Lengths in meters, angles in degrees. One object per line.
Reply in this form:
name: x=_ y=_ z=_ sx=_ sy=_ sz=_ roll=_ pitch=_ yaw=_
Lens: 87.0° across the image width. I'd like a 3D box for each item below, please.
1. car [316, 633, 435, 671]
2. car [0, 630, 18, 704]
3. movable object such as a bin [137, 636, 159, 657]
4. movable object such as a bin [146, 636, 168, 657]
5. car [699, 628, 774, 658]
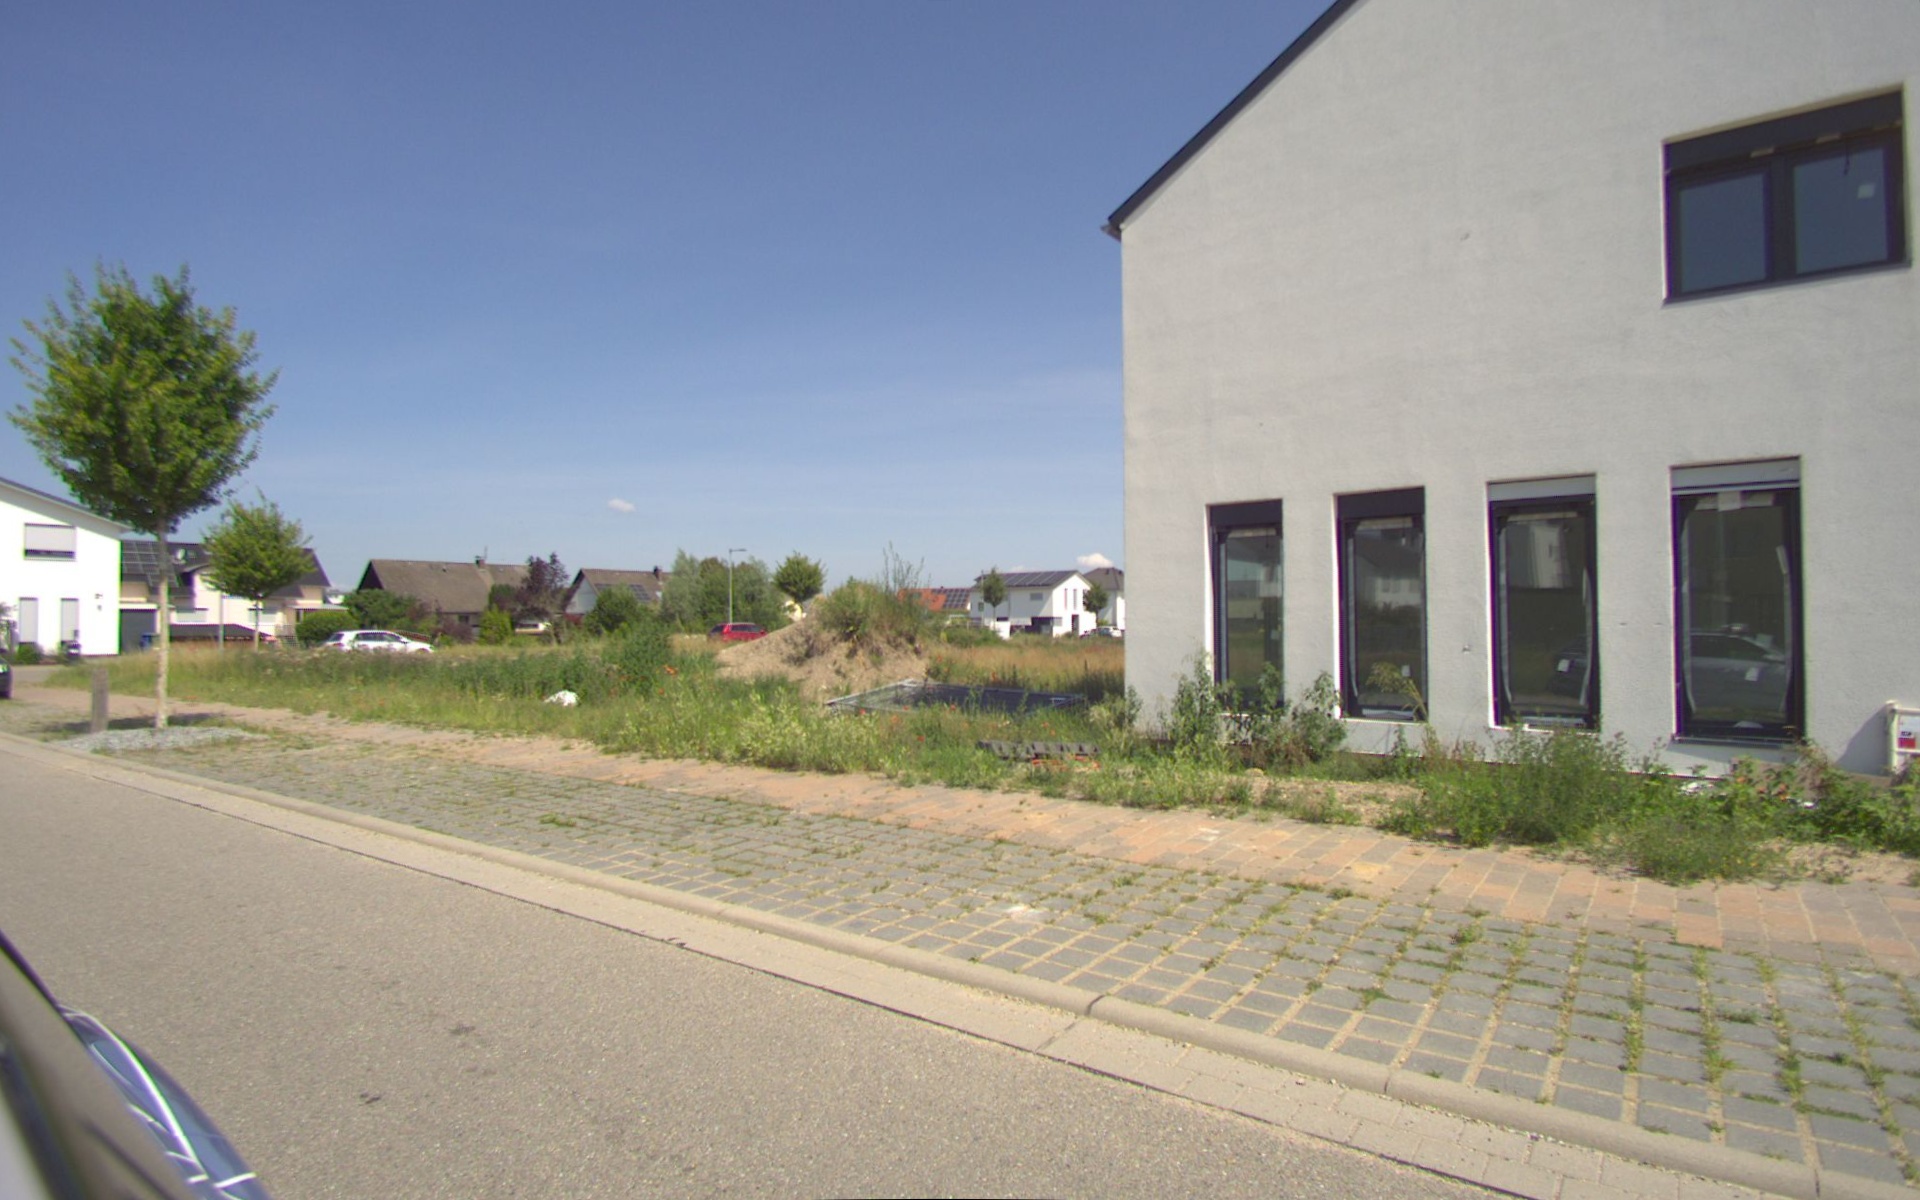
car: x=-24.312 y=2.137 z=42.191 sx=1.809 sy=1.514 sz=3.945 roll=-2 pitch=-3 yaw=41
car: x=-21.369 y=1.408 z=21.126 sx=4.136 sy=1.465 sz=1.795 roll=-2 pitch=-1 yaw=37
movable object such as a bin: x=-39.295 y=2.251 z=48.994 sx=0.740 sy=1.012 sz=0.677 roll=-2 pitch=-3 yaw=39
movable object such as a bin: x=-38.557 y=2.240 z=48.613 sx=0.740 sy=1.012 sz=0.677 roll=-2 pitch=-3 yaw=39
car: x=-12.577 y=2.398 z=57.087 sx=1.807 sy=1.628 sz=3.949 roll=-2 pitch=-2 yaw=37
